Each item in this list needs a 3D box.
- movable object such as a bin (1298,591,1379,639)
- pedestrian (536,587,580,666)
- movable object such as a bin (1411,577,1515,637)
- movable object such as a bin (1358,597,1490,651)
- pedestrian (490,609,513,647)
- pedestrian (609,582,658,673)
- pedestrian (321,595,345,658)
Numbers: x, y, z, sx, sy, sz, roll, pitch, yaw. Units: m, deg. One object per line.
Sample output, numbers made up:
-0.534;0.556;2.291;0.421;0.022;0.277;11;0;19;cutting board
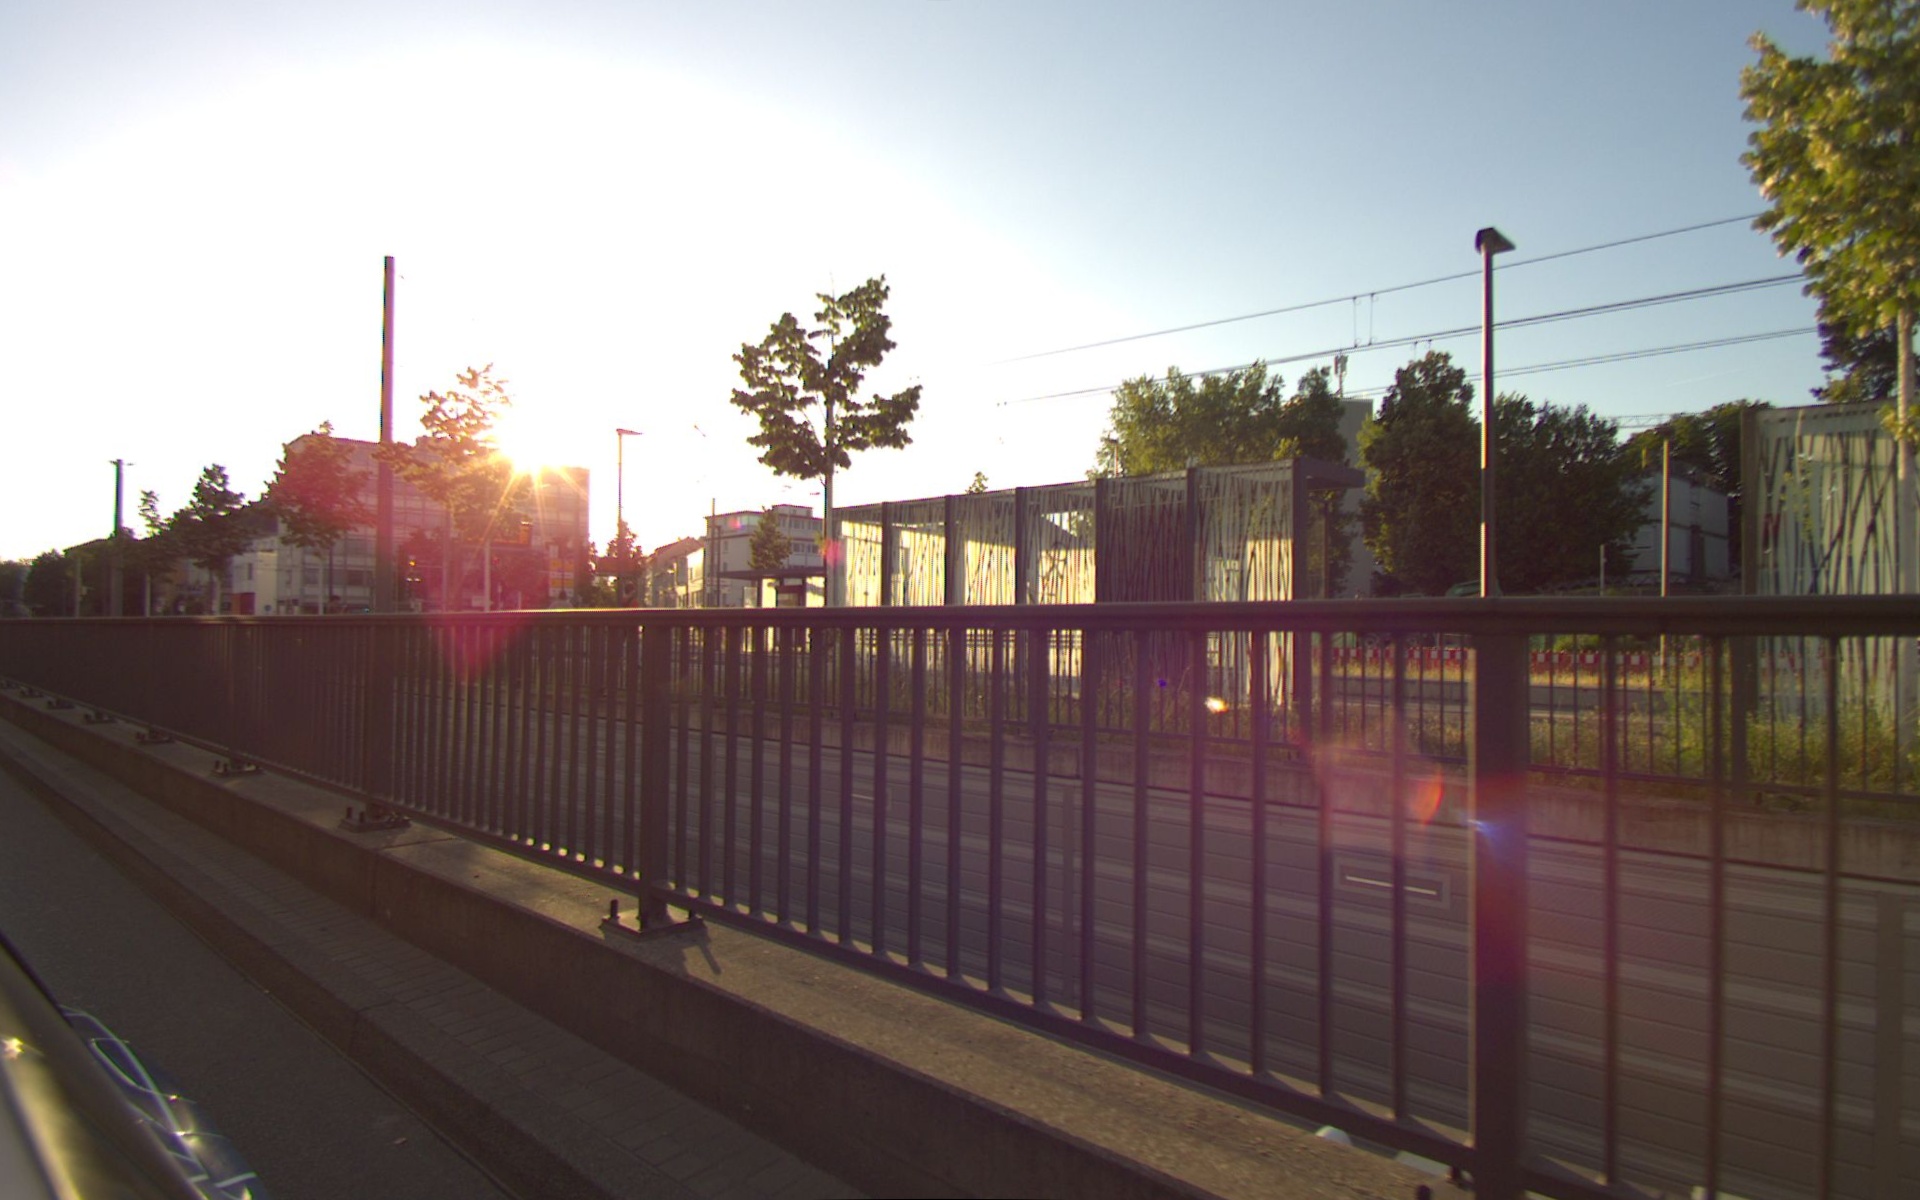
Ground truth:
22.180;0.883;59.436;4.000;2.727;1.971;-1;-2;43;movable object such as a bin
-9.136;0.600;22.999;0.634;1.758;0.719;-2;-2;33;pedestrian
23.671;0.357;47.696;4.000;2.727;1.971;-1;-2;43;movable object such as a bin
20.476;1.044;44.800;4.940;2.263;1.971;-1;-2;43;movable object such as a bin
-21.683;1.321;47.854;0.817;1.812;0.686;-1;-2;43;pedestrian
-6.336;0.536;19.661;0.633;1.742;0.630;-1;-2;29;pedestrian
-18.358;0.778;29.627;0.465;1.800;0.627;1;-2;-42;pedestrian
